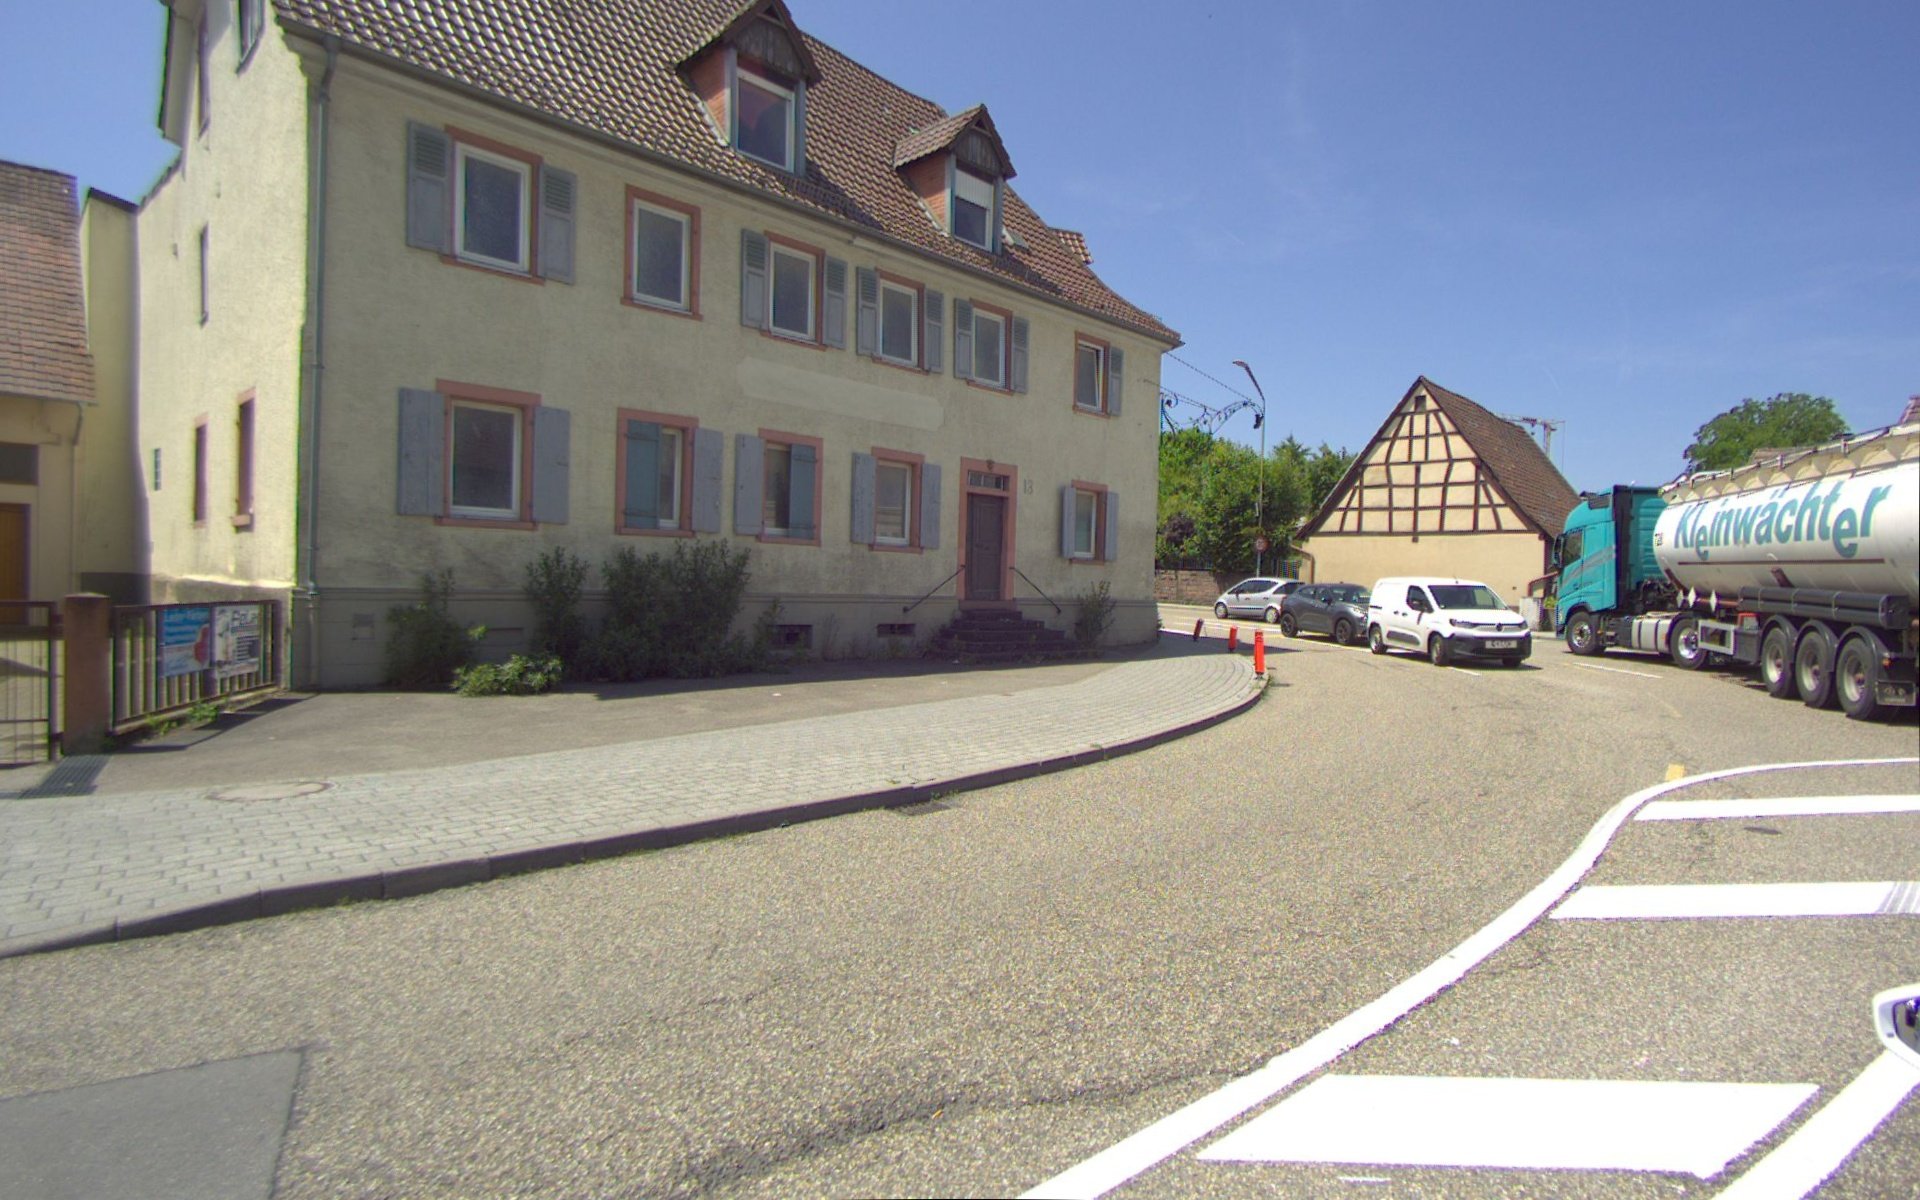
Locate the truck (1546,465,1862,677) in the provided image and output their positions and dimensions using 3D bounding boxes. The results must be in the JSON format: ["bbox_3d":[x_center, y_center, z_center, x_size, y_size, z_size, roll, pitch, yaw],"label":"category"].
[{"bbox_3d":[16.101,-0.640,22.356,2.937,4.018,5.580,2,2,4],"label":"truck"}]

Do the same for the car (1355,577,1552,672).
[{"bbox_3d":[10.708,0.430,22.228,1.844,1.809,4.518,1,2,-4],"label":"car"}]

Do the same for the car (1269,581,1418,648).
[{"bbox_3d":[10.424,0.353,27.623,1.768,1.544,3.987,2,2,-15],"label":"car"}]

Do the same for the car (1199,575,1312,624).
[{"bbox_3d":[10.540,-0.043,36.011,1.769,1.606,3.573,2,1,-33],"label":"car"}]

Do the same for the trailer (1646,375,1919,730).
[{"bbox_3d":[13.957,-0.553,15.420,2.904,4.001,11.614,3,2,21],"label":"trailer"}]
